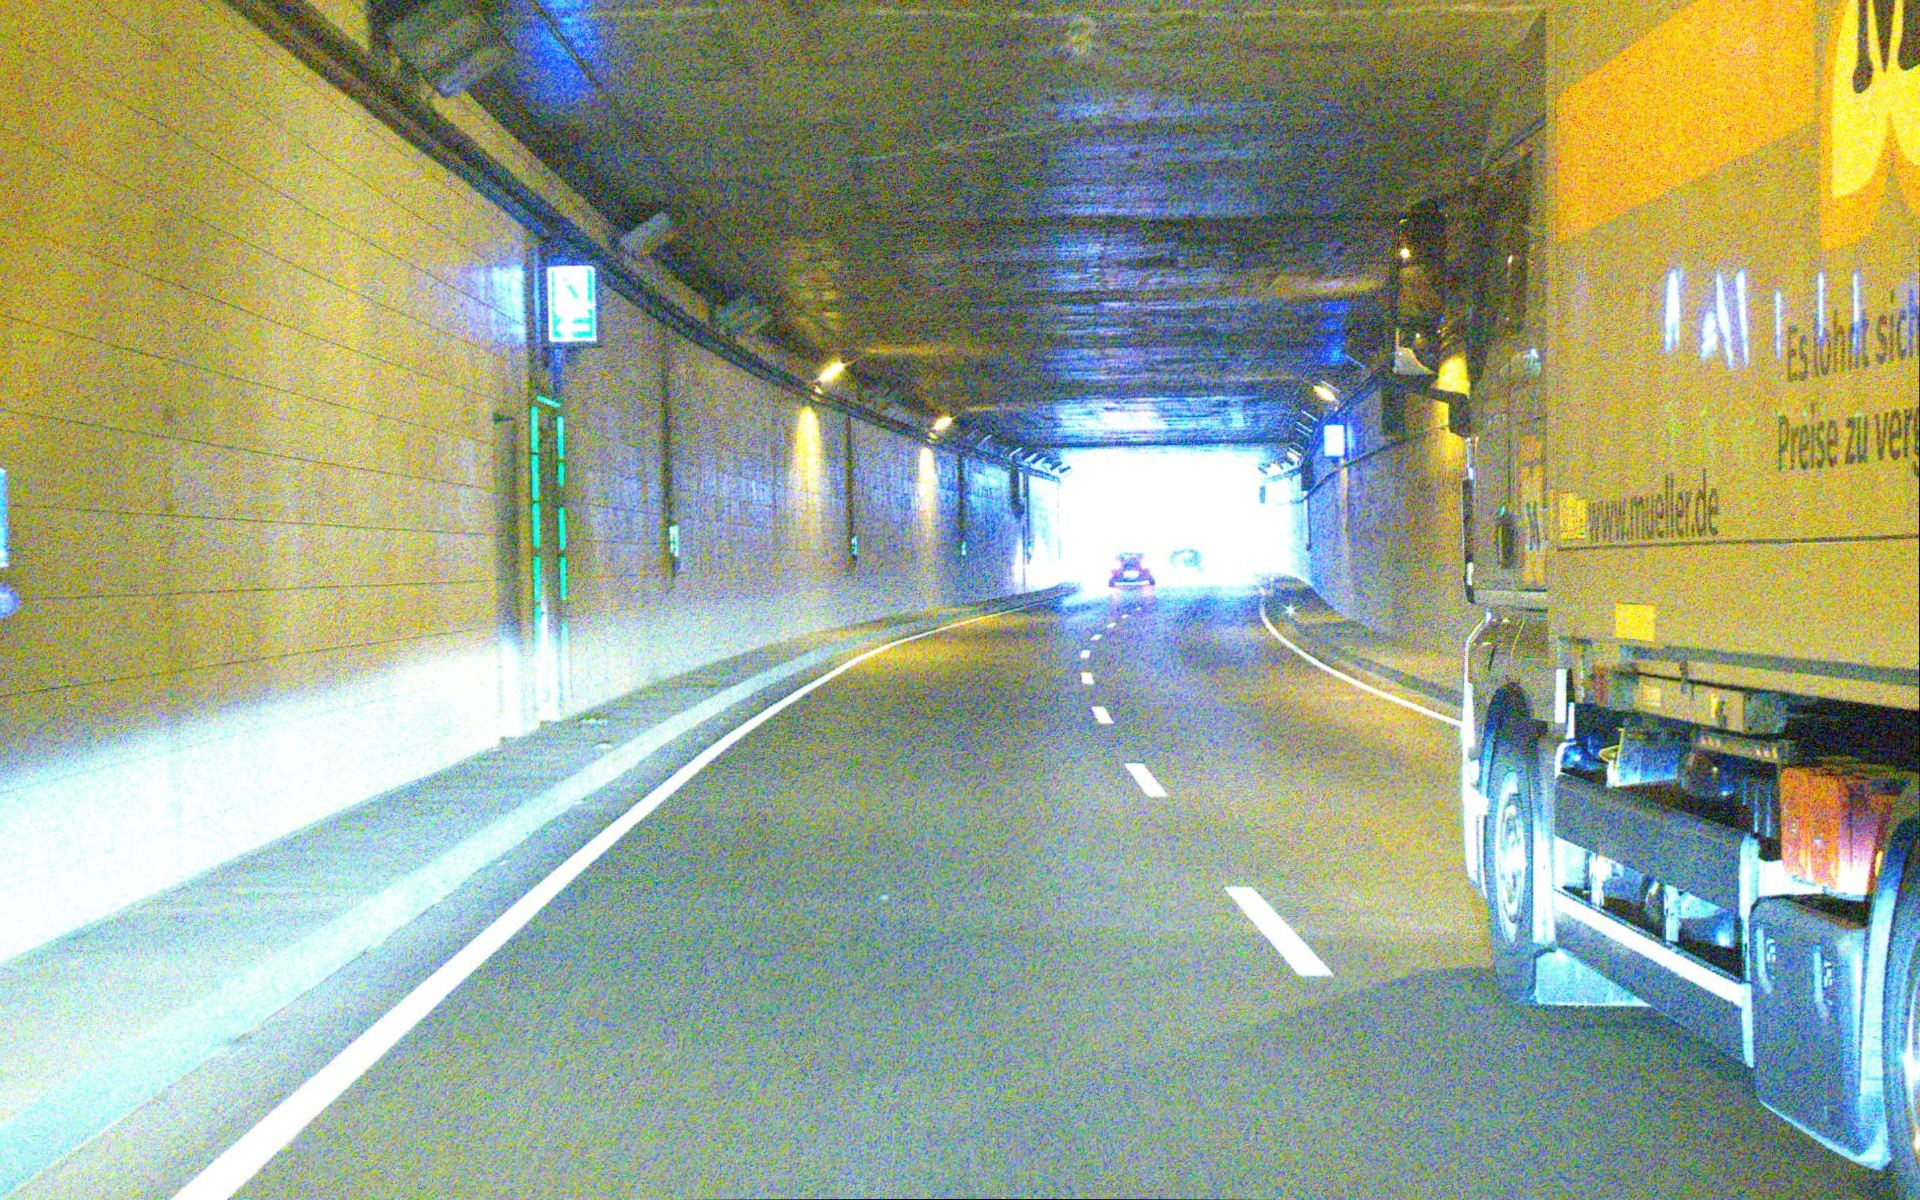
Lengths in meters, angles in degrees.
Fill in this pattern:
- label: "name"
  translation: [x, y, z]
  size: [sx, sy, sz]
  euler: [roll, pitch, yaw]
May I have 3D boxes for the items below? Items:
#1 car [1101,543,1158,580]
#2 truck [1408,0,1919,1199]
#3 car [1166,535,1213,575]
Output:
- label: "car"
  translation: [6.598, -1.496, 133.181]
  size: [1.842, 1.384, 3.999]
  euler: [-1, 1, 8]
- label: "truck"
  translation: [3.199, -0.621, 7.868]
  size: [2.888, 3.900, 9.910]
  euler: [-1, 1, -1]
- label: "car"
  translation: [10.119, -1.968, 151.866]
  size: [1.869, 1.726, 4.000]
  euler: [-1, 0, 1]
